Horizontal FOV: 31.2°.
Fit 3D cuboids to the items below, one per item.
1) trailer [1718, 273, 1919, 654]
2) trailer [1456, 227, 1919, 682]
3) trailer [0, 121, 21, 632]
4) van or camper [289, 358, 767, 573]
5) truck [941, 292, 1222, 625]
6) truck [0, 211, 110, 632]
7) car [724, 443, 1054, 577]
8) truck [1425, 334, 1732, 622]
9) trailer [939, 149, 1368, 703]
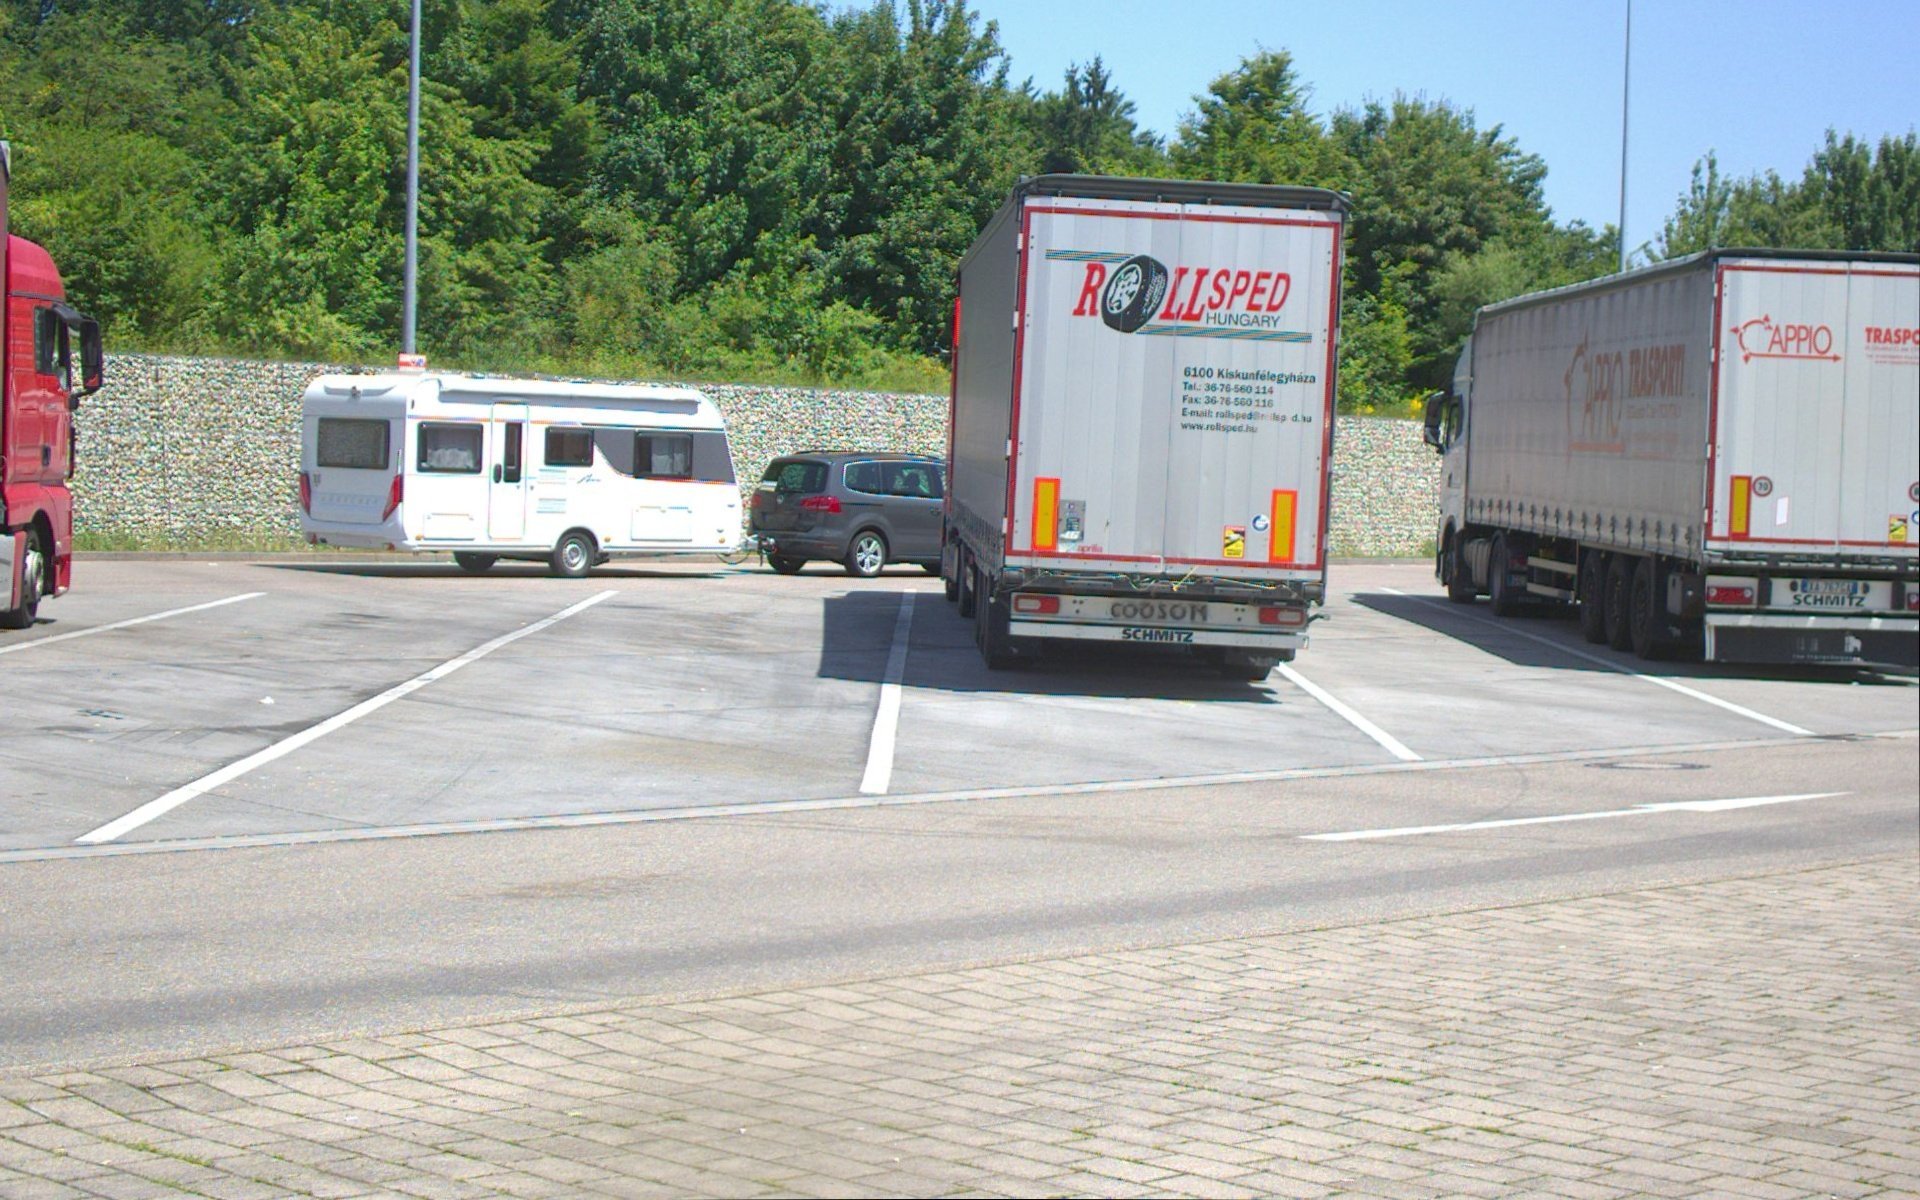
[{"bbox_3d":[11.794,-1.535,39.439,2.838,4.118,13.724,2,3,-1],"label":"trailer"},{"bbox_3d":[8.157,-1.636,38.687,2.838,4.118,13.724,2,3,-1],"label":"trailer"},{"bbox_3d":[-9.149,-1.509,21.304,2.906,4.118,13.725,2,3,-1],"label":"trailer"},{"bbox_3d":[-5.494,-1.699,44.374,5.833,2.556,2.271,0,4,-44],"label":"van or camper"},{"bbox_3d":[1.292,-1.647,39.811,2.852,3.472,5.483,2,3,-1],"label":"truck"},{"bbox_3d":[-9.238,-1.529,28.743,2.852,3.416,5.483,2,3,-1],"label":"truck"},{"bbox_3d":[-0.969,-1.262,48.620,4.499,1.702,1.786,0,4,-42],"label":"car"},{"bbox_3d":[8.065,-1.638,45.500,2.852,3.472,5.483,2,3,-1],"label":"truck"},{"bbox_3d":[1.439,-1.636,33.198,2.906,4.118,13.725,2,3,-1],"label":"trailer"}]
